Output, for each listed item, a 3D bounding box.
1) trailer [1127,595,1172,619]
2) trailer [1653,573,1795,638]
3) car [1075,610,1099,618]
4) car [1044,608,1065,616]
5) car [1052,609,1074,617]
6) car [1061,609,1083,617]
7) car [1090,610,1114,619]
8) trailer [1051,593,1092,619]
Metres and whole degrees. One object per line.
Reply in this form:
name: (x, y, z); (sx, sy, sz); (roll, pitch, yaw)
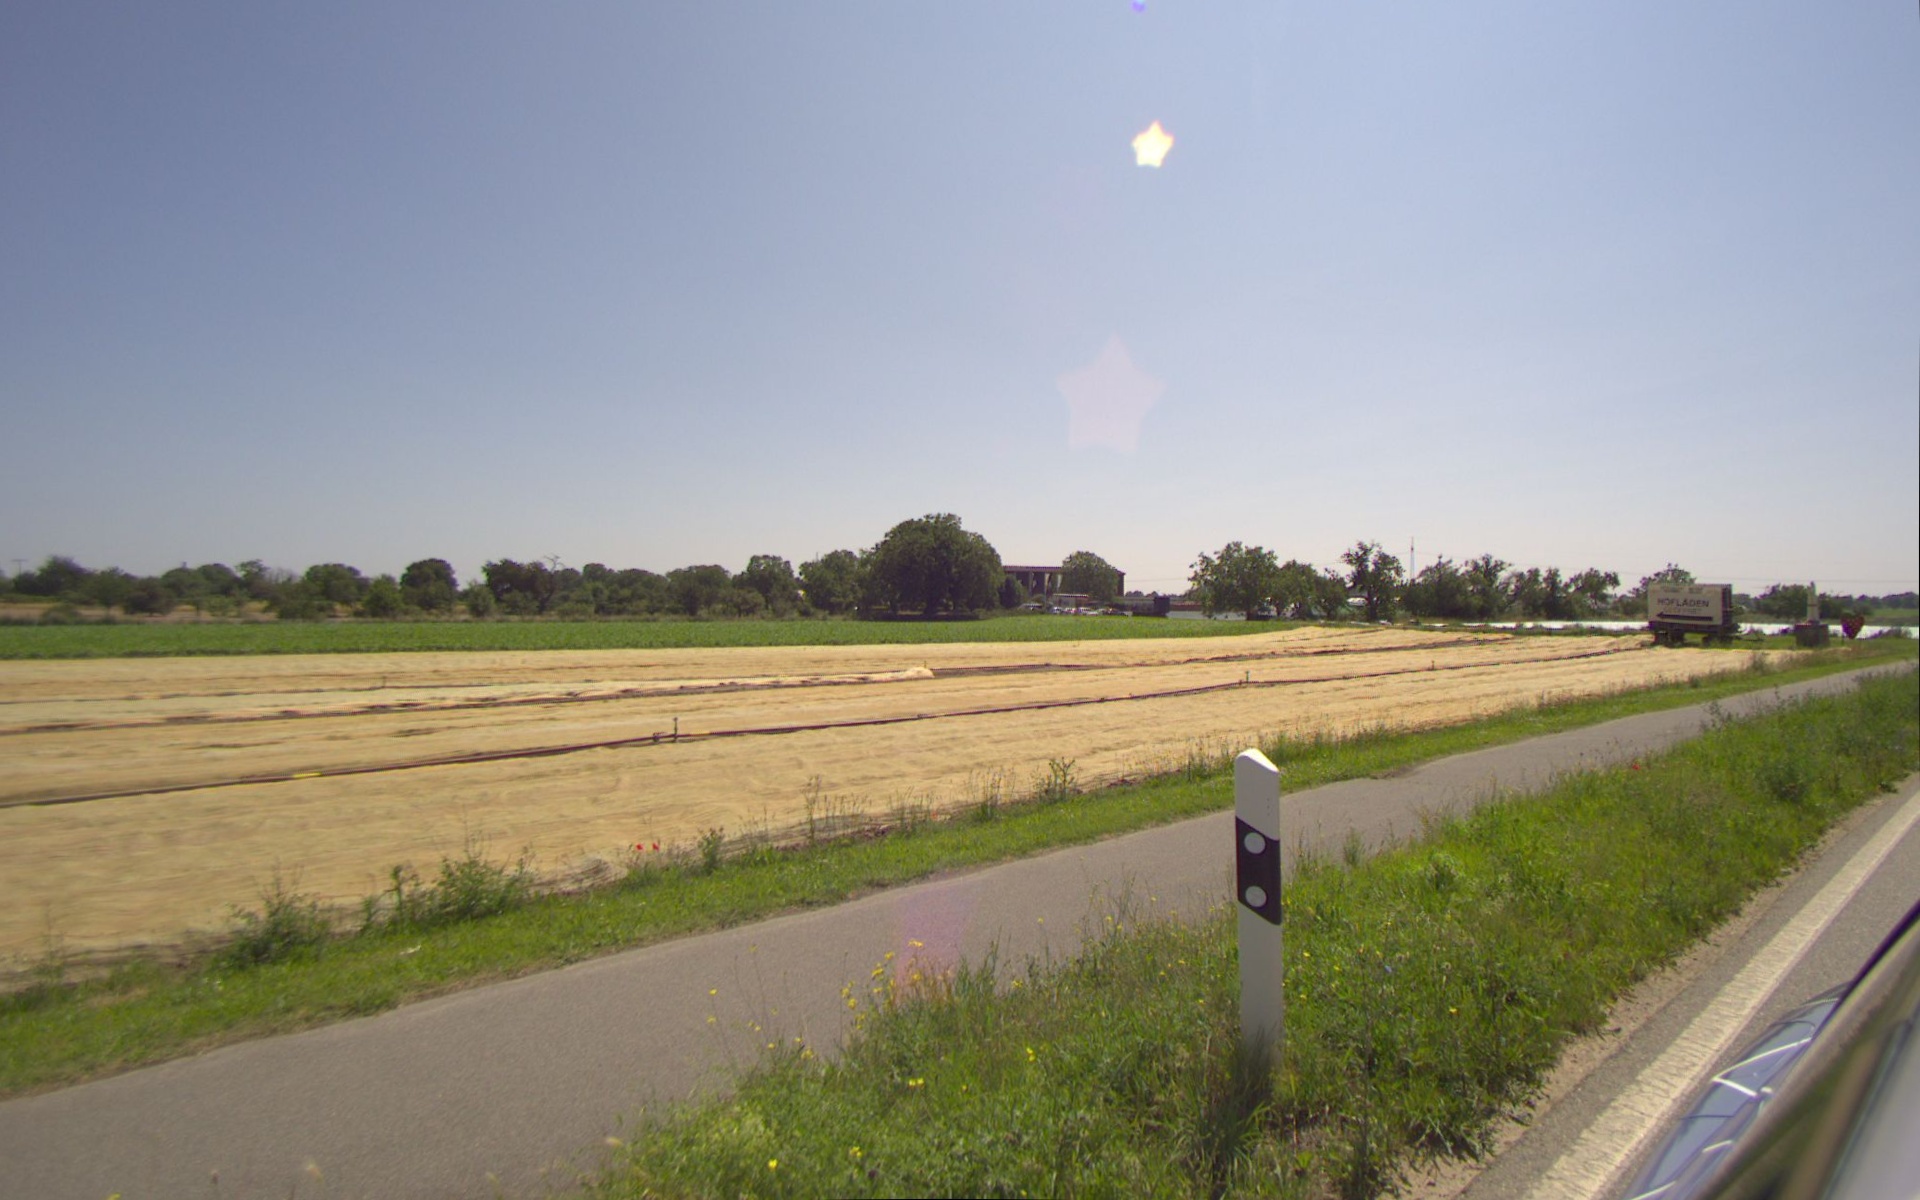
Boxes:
trailer: (27.296, 1.031, 146.012); (3.191, 3.336, 7.455); (0, -1, -16)
trailer: (37.689, 0.230, 50.113); (1.958, 2.989, 5.306); (-1, 1, -22)
car: (18.691, 2.049, 149.025); (3.212, 1.213, 1.298); (0, -1, -26)
car: (15.002, 1.936, 160.645); (3.212, 1.213, 1.298); (0, -1, -26)
car: (16.068, 1.967, 157.546); (3.212, 1.213, 1.298); (0, -1, -26)
car: (17.156, 1.994, 154.858); (3.212, 1.213, 1.298); (0, -1, -26)
car: (20.602, 2.079, 146.830); (3.212, 1.213, 1.298); (0, -1, -26)
trailer: (18.941, 0.992, 172.514); (3.094, 4.275, 7.448); (0, -1, -29)
